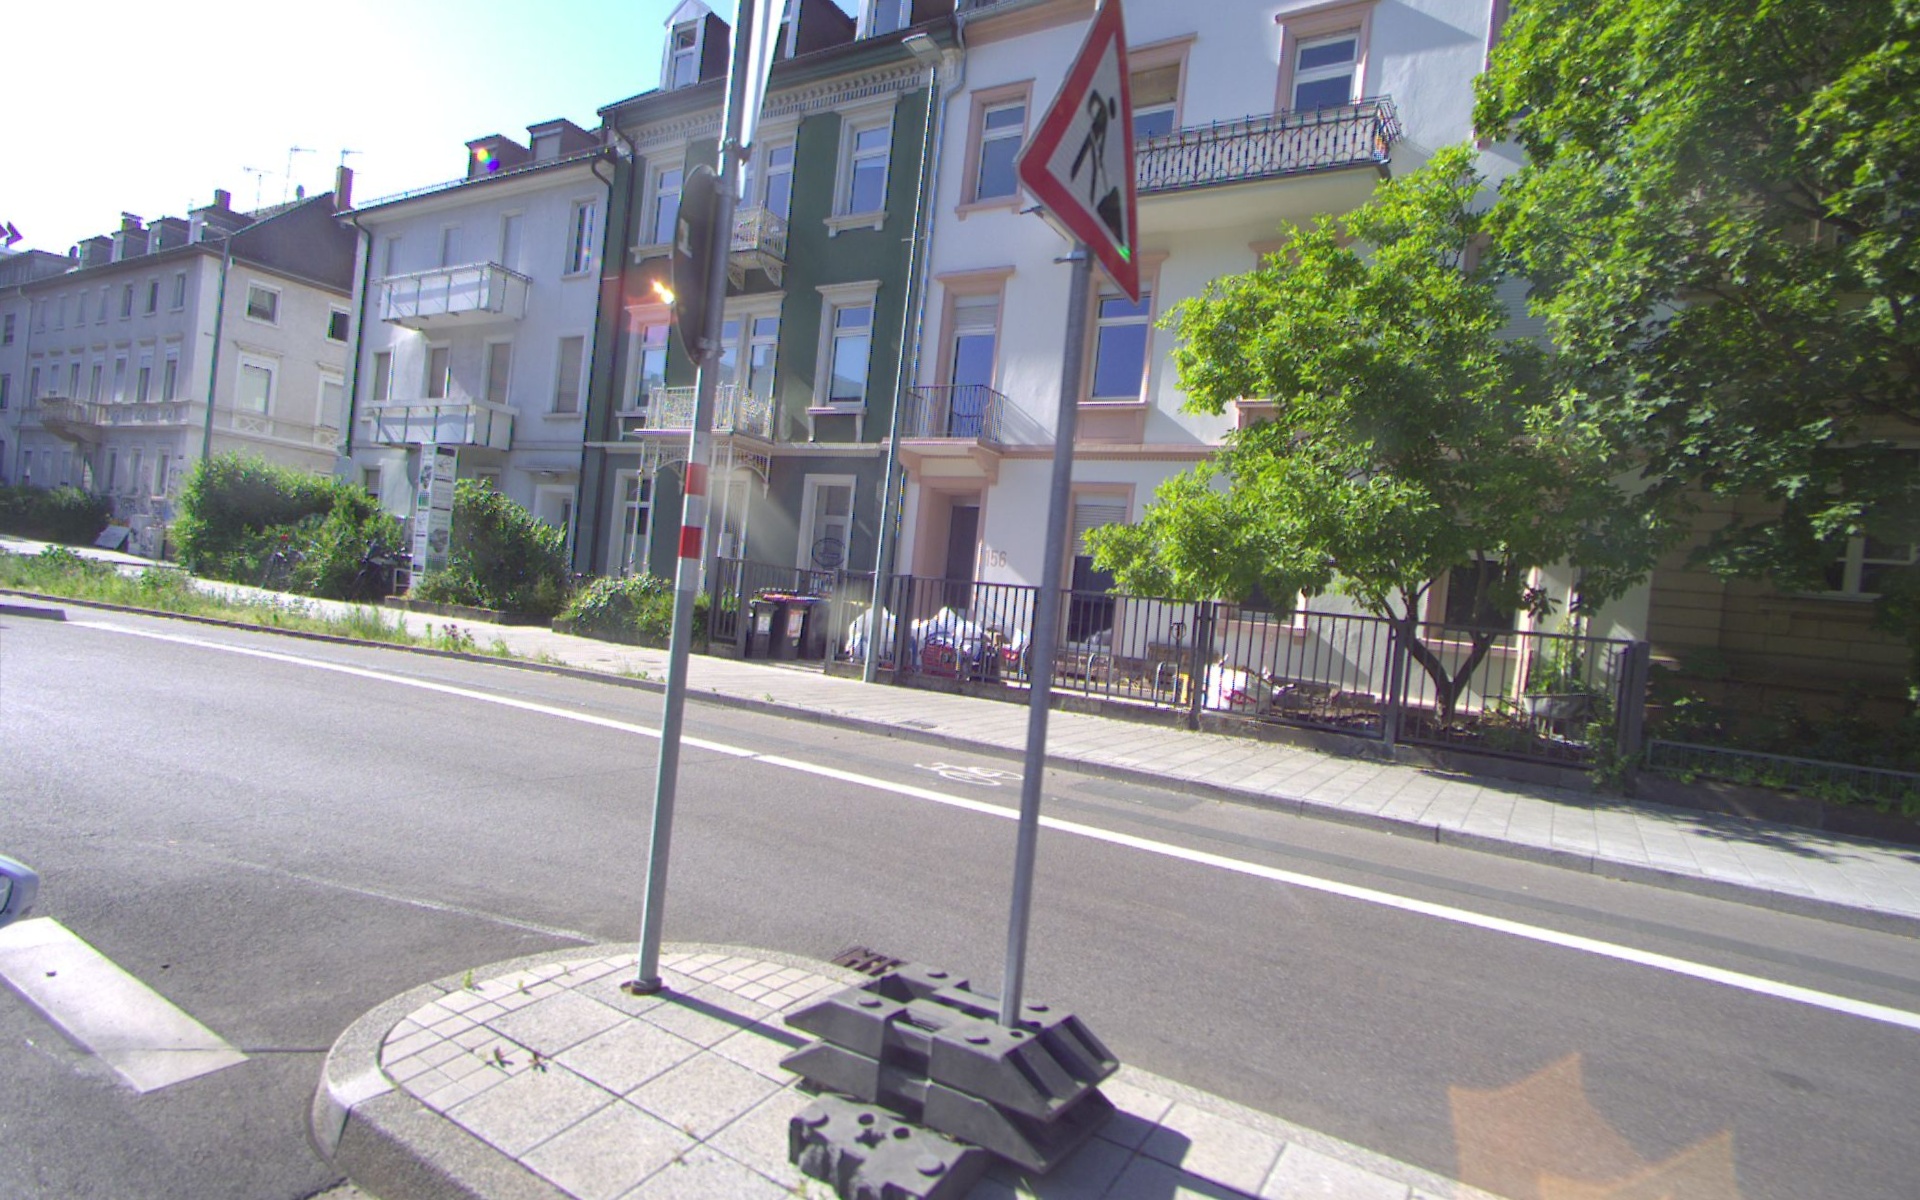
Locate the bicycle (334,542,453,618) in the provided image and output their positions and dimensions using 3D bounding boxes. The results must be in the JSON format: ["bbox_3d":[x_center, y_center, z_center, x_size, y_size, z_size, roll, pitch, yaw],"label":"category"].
[{"bbox_3d":[-12.979,-0.434,23.133,0.627,1.503,2.258,7,0,30],"label":"bicycle"}]

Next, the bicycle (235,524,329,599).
[{"bbox_3d":[-15.767,-0.916,23.366,2.449,1.460,0.709,7,-1,31],"label":"bicycle"}]

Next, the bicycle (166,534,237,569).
[{"bbox_3d":[-28.853,-1.832,38.302,0.570,1.093,1.998,6,-1,34],"label":"bicycle"}]
